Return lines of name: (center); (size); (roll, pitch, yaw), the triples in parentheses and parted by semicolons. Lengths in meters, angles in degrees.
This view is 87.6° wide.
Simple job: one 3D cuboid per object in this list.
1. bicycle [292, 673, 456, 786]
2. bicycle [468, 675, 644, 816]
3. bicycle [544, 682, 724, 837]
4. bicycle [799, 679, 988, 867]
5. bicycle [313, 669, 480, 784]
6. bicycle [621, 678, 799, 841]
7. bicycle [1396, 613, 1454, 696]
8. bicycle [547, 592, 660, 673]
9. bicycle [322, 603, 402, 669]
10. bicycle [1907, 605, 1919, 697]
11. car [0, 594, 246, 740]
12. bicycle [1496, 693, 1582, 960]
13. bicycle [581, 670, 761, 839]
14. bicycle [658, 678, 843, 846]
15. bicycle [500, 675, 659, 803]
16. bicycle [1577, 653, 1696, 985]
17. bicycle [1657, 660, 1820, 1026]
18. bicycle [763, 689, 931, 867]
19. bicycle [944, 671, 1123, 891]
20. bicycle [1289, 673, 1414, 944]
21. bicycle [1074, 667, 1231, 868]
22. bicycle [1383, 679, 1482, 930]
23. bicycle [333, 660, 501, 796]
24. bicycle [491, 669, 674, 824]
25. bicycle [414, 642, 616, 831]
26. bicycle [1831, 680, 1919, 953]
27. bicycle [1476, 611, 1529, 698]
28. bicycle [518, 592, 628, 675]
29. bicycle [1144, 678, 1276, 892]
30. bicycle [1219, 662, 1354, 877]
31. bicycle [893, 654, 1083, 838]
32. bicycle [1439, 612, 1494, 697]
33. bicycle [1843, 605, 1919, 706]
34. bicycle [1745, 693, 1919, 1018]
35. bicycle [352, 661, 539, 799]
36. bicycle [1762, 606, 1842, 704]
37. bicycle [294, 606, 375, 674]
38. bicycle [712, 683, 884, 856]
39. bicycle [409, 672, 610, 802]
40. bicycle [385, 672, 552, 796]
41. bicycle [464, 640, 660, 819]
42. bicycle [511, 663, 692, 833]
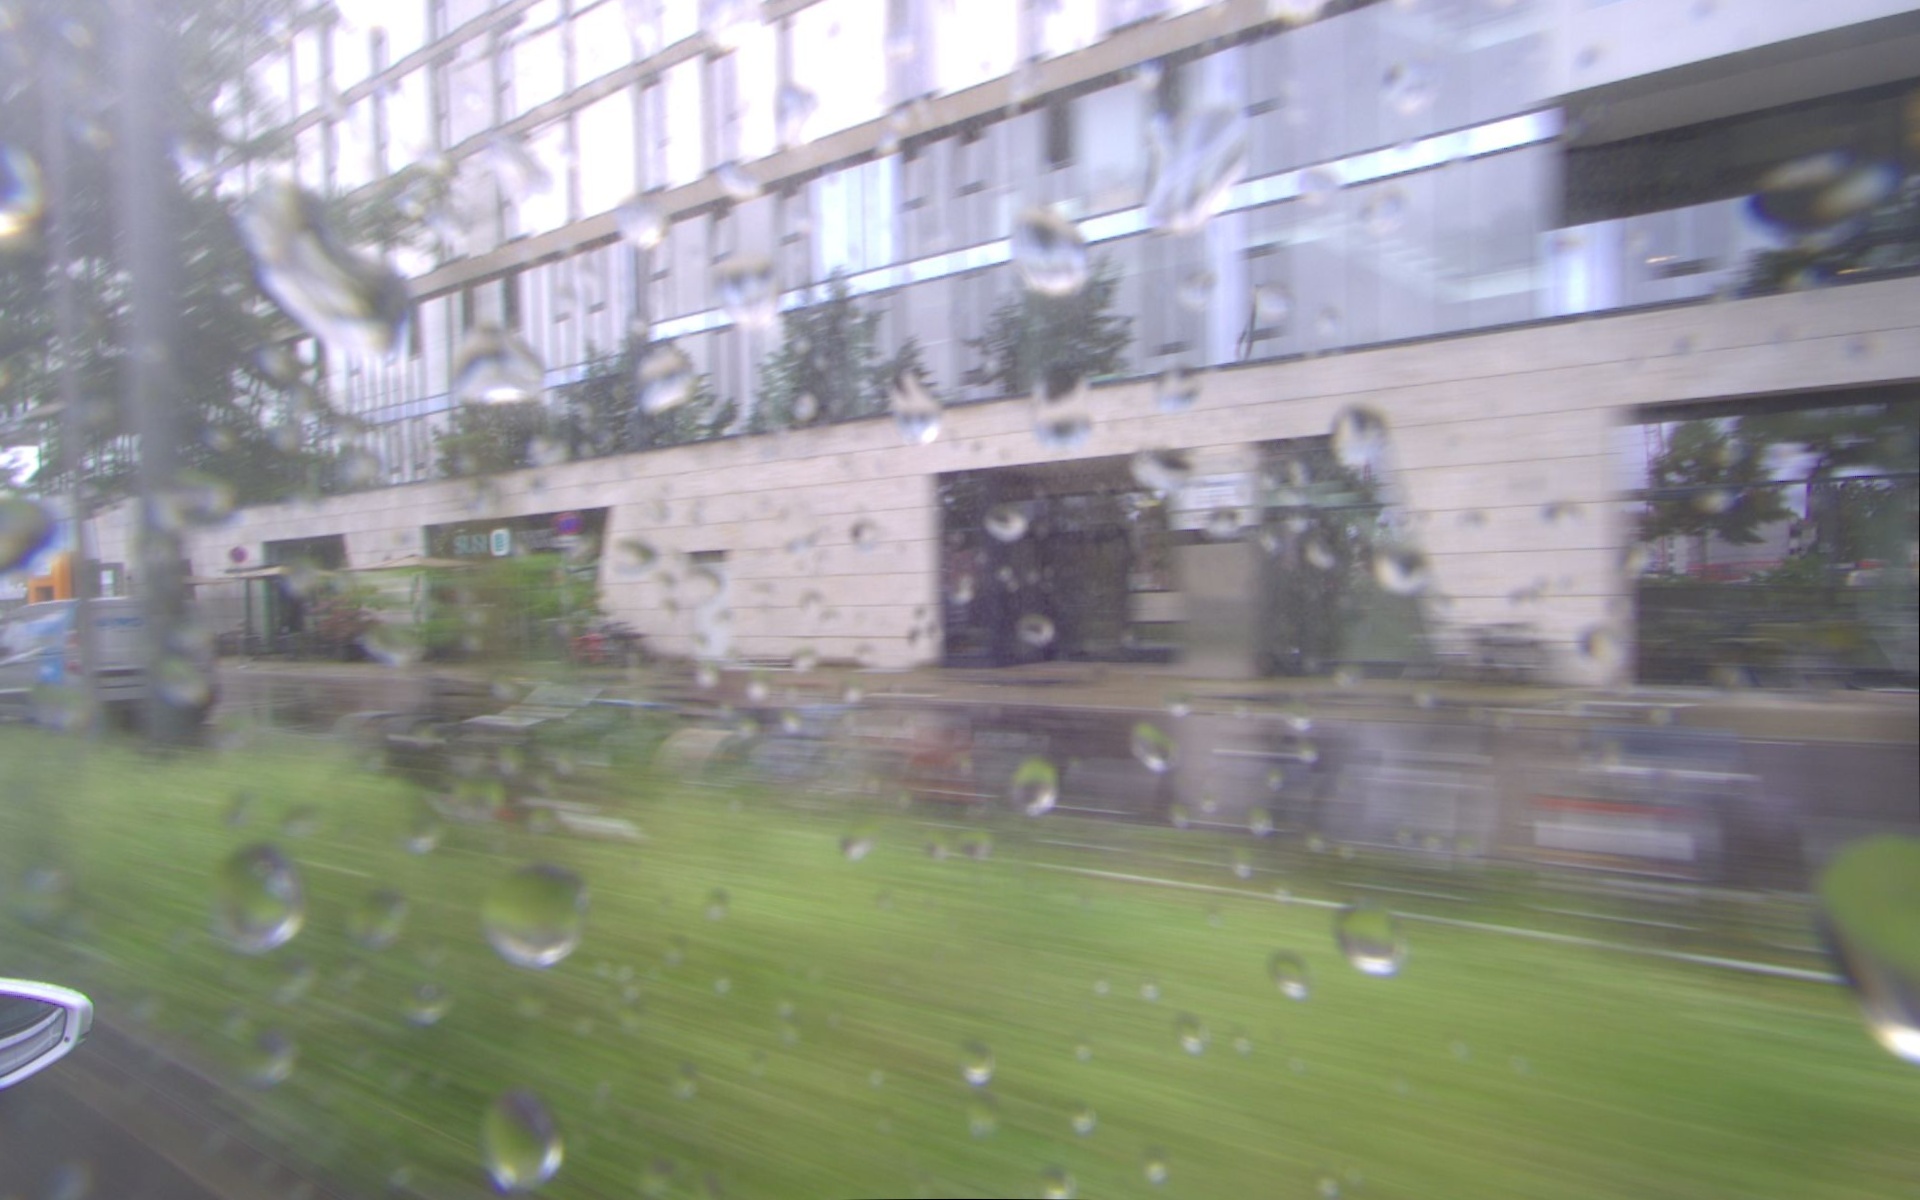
bicycle: (-5.216, 1.123, 8.977); (0.271, 0.860, 1.286); (0, 0, 31)
bicycle: (-2.954, 1.036, 7.428); (0.271, 0.860, 1.286); (-1, 0, 31)
bicycle: (-2.177, 1.037, 6.816); (0.271, 0.860, 1.286); (0, 0, 31)
bicycle: (-0.335, 0.952, 5.892); (0.273, 0.860, 1.519); (0, 0, 31)
bicycle: (-4.908, 1.076, 8.796); (0.306, 0.860, 1.286); (-1, 0, 31)
bicycle: (-1.582, 0.984, 6.500); (0.271, 0.860, 1.286); (-1, 0, 31)
bicycle: (6.345, 0.711, 13.620); (0.417, 1.042, 1.689); (-1, 0, 35)
bicycle: (-8.369, 0.717, 23.415); (3.075, 1.746, 0.770); (1, 2, 32)
bicycle: (-16.981, 0.985, 28.401); (3.075, 1.746, 0.643); (1, 2, 32)
bicycle: (10.914, 0.575, 10.946); (0.534, 1.042, 1.801); (-1, 0, 35)
car: (-12.526, 0.875, 14.545); (4.622, 1.814, 1.902); (-1, 0, 33)
bicycle: (2.525, 0.901, 4.379); (0.271, 0.860, 1.403); (-1, 0, 30)
bicycle: (-1.877, 0.973, 6.646); (0.271, 0.931, 1.286); (-1, 0, 31)
bicycle: (-1.281, 0.969, 6.323); (0.349, 0.860, 1.286); (-1, 0, 31)
bicycle: (-3.009, 1.070, 8.013); (0.271, 0.860, 1.286); (0, 0, 31)
bicycle: (2.821, 0.802, 4.245); (0.292, 1.067, 1.610); (-1, 0, 30)
bicycle: (3.102, 0.850, 4.071); (0.292, 1.111, 1.610); (-1, 0, 30)
bicycle: (-0.641, 1.019, 6.046); (0.271, 0.860, 1.286); (0, 0, 31)
bicycle: (0.488, 0.978, 5.885); (0.316, 1.001, 1.639); (-1, 0, 31)
bicycle: (1.943, 0.912, 4.876); (0.271, 1.035, 1.612); (-1, -1, 31)
bicycle: (1.081, 0.821, 5.376); (0.271, 0.860, 1.612); (-1, -2, 31)
bicycle: (2.265, 0.885, 4.743); (0.271, 0.909, 1.407); (-1, 0, 31)
bicycle: (-4.641, 1.061, 8.631); (0.271, 1.009, 1.286); (-1, 0, 31)
bicycle: (-2.663, 0.999, 7.181); (0.271, 0.922, 1.323); (-1, 0, 31)
bicycle: (-2.285, 0.653, 5.093); (1.274, 0.860, 0.274); (-1, 1, 33)
bicycle: (3.679, 0.816, 3.647); (0.308, 0.960, 1.706); (-1, -2, 26)
bicycle: (7.103, 0.675, 13.086); (0.406, 1.042, 1.745); (-1, 0, 35)
bicycle: (-8.844, 0.719, 22.790); (3.075, 1.746, 0.643); (1, 2, 32)
bicycle: (1.309, 0.880, 5.123); (0.271, 0.860, 1.286); (-1, 0, 31)
bicycle: (1.683, 0.770, 5.035); (0.271, 0.860, 1.612); (-1, -2, 31)
bicycle: (0.238, 0.808, 6.071); (0.271, 0.860, 1.813); (-1, 0, 31)
bicycle: (6.764, 0.694, 13.349); (0.417, 1.042, 1.689); (-1, 0, 35)
bicycle: (10.457, 0.592, 11.278); (0.534, 1.042, 1.801); (-1, 0, 35)
bicycle: (3.382, 0.860, 3.829); (0.309, 0.860, 1.704); (-1, 0, 28)
bicycle: (-4.312, 1.057, 8.493); (0.306, 0.992, 1.457); (0, 0, 31)
bicycle: (9.832, 0.607, 11.730); (0.534, 1.042, 1.801); (-1, 0, 35)
bicycle: (-17.376, 1.081, 27.767); (3.075, 1.746, 0.643); (1, 2, 32)
bicycle: (-0.959, 0.996, 6.193); (0.271, 0.860, 1.286); (0, 0, 31)
bicycle: (-3.627, 1.069, 8.191); (0.306, 0.860, 1.592); (-1, 0, 31)
bicycle: (-4.016, 1.068, 8.261); (0.271, 0.860, 1.286); (0, 0, 31)
bicycle: (-2.157, 0.654, 5.370); (1.274, 0.860, 0.274); (-1, 1, 33)
bicycle: (-2.446, 0.974, 6.956); (0.271, 1.002, 1.286); (0, 0, 31)
